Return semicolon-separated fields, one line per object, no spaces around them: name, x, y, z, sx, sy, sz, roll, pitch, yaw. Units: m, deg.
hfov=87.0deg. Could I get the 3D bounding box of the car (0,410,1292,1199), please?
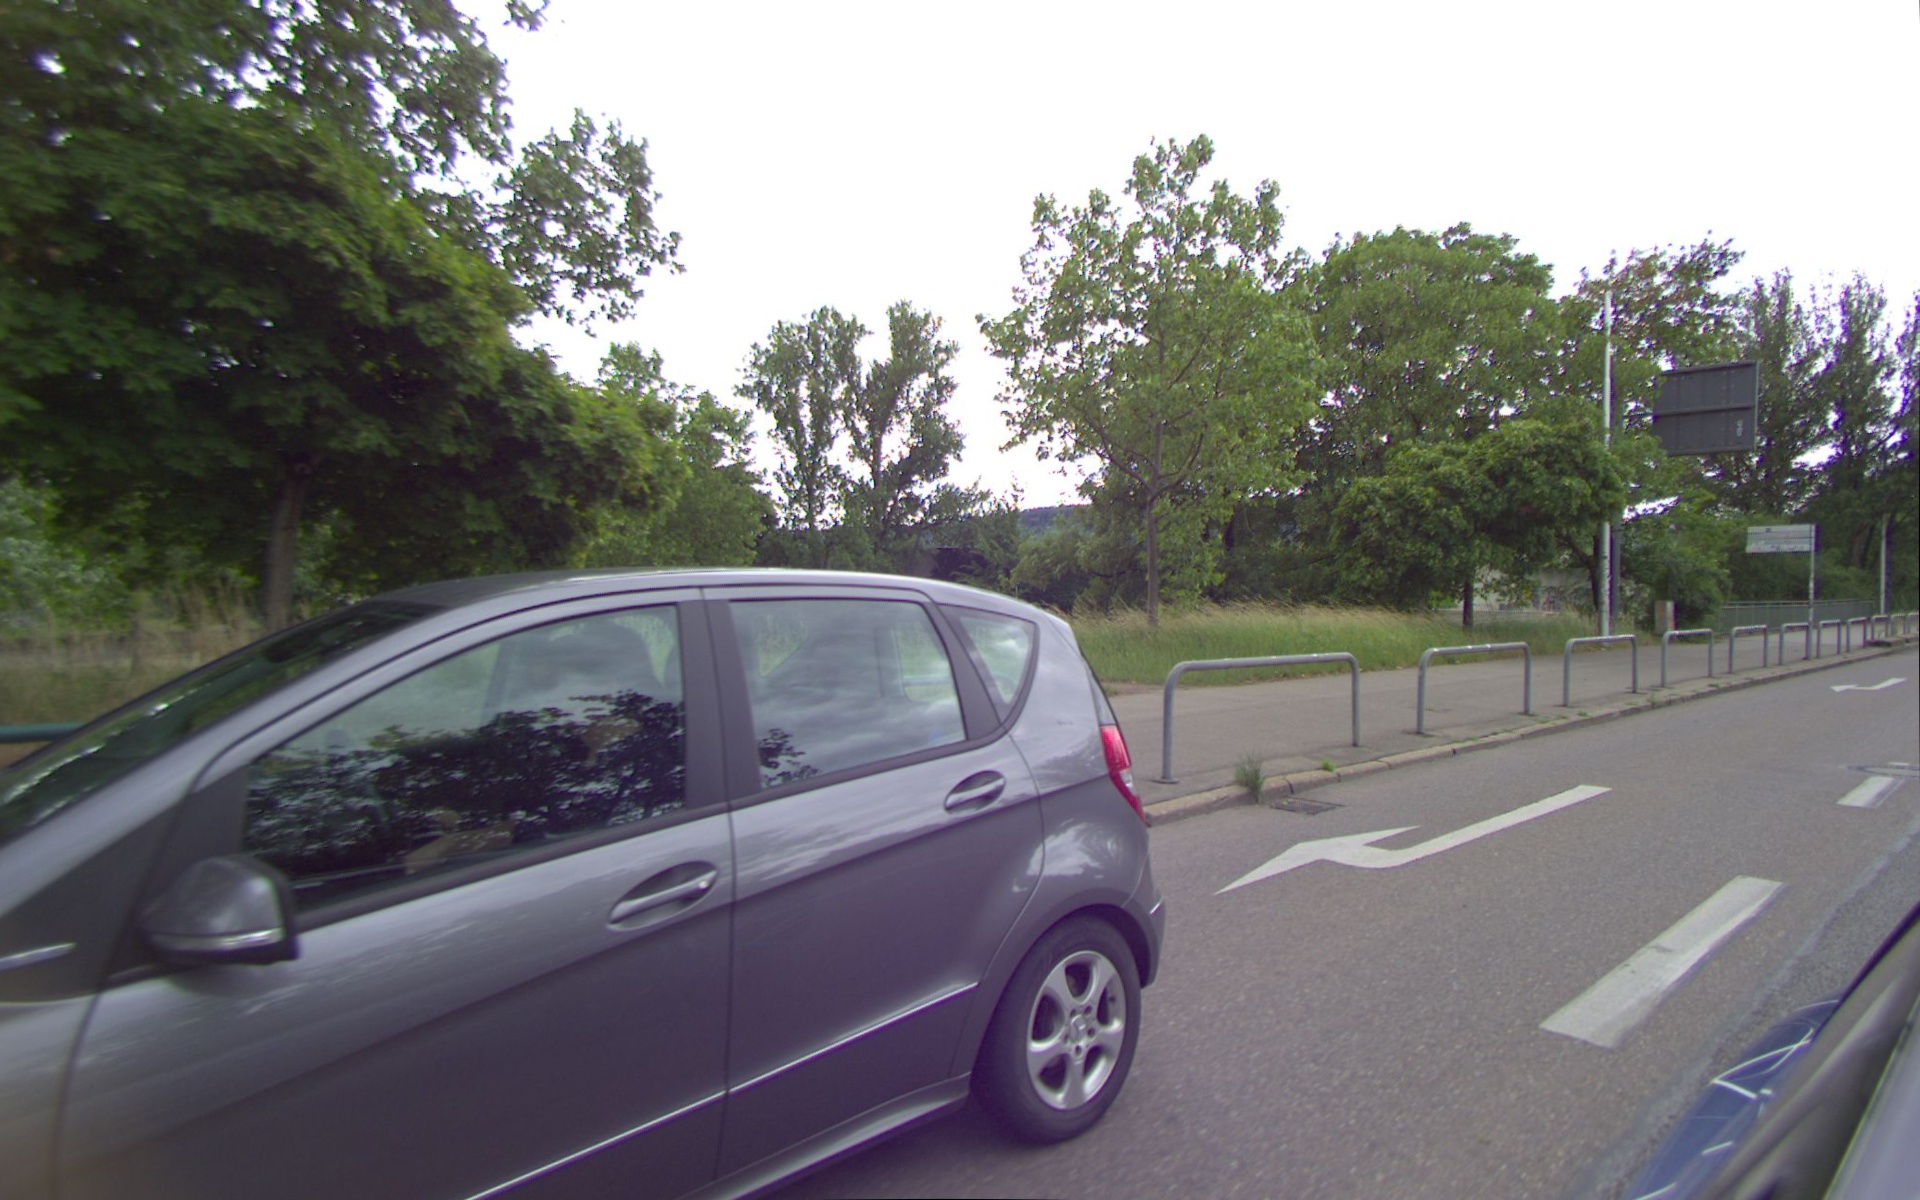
car;-0.985;0.574;2.796;3.962;1.637;1.830;1;0;-41
